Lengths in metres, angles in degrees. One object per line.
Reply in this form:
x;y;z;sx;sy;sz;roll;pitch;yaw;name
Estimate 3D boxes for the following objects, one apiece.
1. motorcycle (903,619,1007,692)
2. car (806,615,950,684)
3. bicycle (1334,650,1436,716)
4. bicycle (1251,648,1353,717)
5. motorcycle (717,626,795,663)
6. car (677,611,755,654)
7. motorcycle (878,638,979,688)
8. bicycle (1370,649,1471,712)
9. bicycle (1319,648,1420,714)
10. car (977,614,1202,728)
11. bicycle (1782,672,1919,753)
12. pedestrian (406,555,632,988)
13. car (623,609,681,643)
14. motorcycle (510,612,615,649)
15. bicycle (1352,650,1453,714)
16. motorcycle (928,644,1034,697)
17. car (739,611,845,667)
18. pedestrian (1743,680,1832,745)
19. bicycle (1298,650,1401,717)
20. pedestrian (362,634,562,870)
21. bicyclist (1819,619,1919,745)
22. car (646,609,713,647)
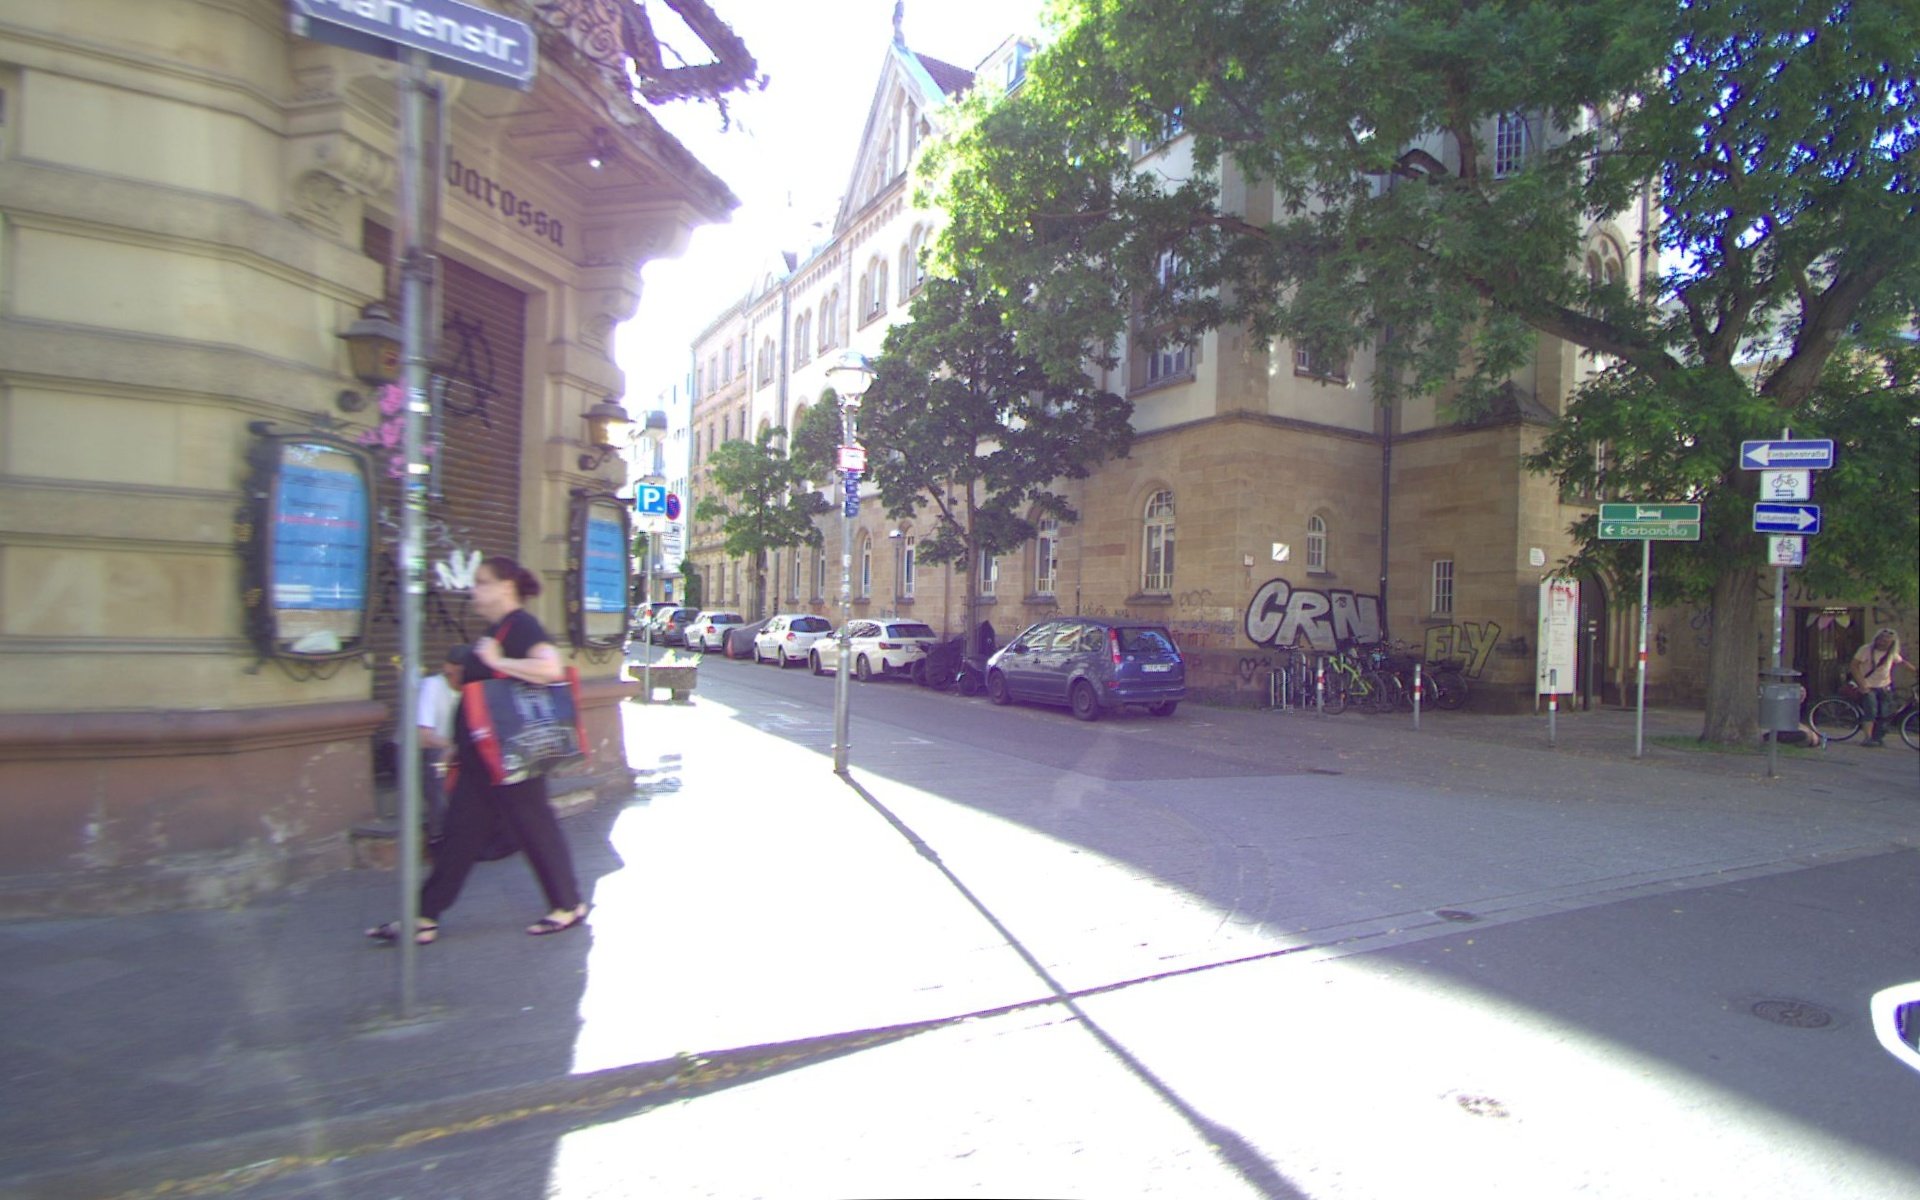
-0.082;1.144;20.835;2.080;1.439;0.656;2;-1;-31;motorcycle
-2.065;1.143;24.107;1.775;1.439;4.244;2;-1;-30;car
7.665;1.479;18.195;0.472;1.068;1.767;1;-1;-29;bicycle
5.867;1.400;17.323;0.527;1.068;1.767;1;-1;-29;bicycle
-6.636;1.462;32.724;2.283;1.076;0.918;5;-3;-29;motorcycle
-9.075;1.156;37.121;1.711;1.439;4.107;2;-1;-30;car
-0.667;1.357;21.572;2.080;1.004;0.656;2;-1;-31;motorcycle
8.567;1.480;18.765;0.472;1.068;1.767;1;-1;-29;bicycle
7.297;1.421;17.995;0.472;1.068;1.767;1;-1;-29;bicycle
2.031;1.062;16.873;1.749;1.620;3.969;0;0;-29;car
13.253;1.612;14.653;0.814;0.935;1.758;2;2;-20;bicycle
-1.850;0.643;4.190;0.751;1.601;0.663;2;0;-30;pedestrian
-14.184;1.184;46.080;1.711;1.439;3.890;2;-1;-30;car
-13.578;1.057;34.405;2.999;1.076;1.336;4;-2;-5;motorcycle
8.107;1.476;18.466;0.472;1.068;1.767;1;-1;-29;bicycle
0.421;1.384;19.751;2.080;0.988;0.566;2;-1;-31;motorcycle
-5.067;1.110;29.801;1.711;1.480;4.244;2;-1;-30;car
11.445;1.538;13.921;0.904;0.788;0.700;0;-1;37;pedestrian
6.870;1.455;17.796;0.527;1.068;1.767;1;-1;-29;bicycle
-2.745;0.808;5.602;0.733;1.193;0.669;2;0;1;pedestrian
13.267;1.177;14.658;0.682;1.746;0.803;2;2;-21;bicyclist
-11.593;1.114;41.373;1.711;1.439;3.890;2;-1;-30;car
